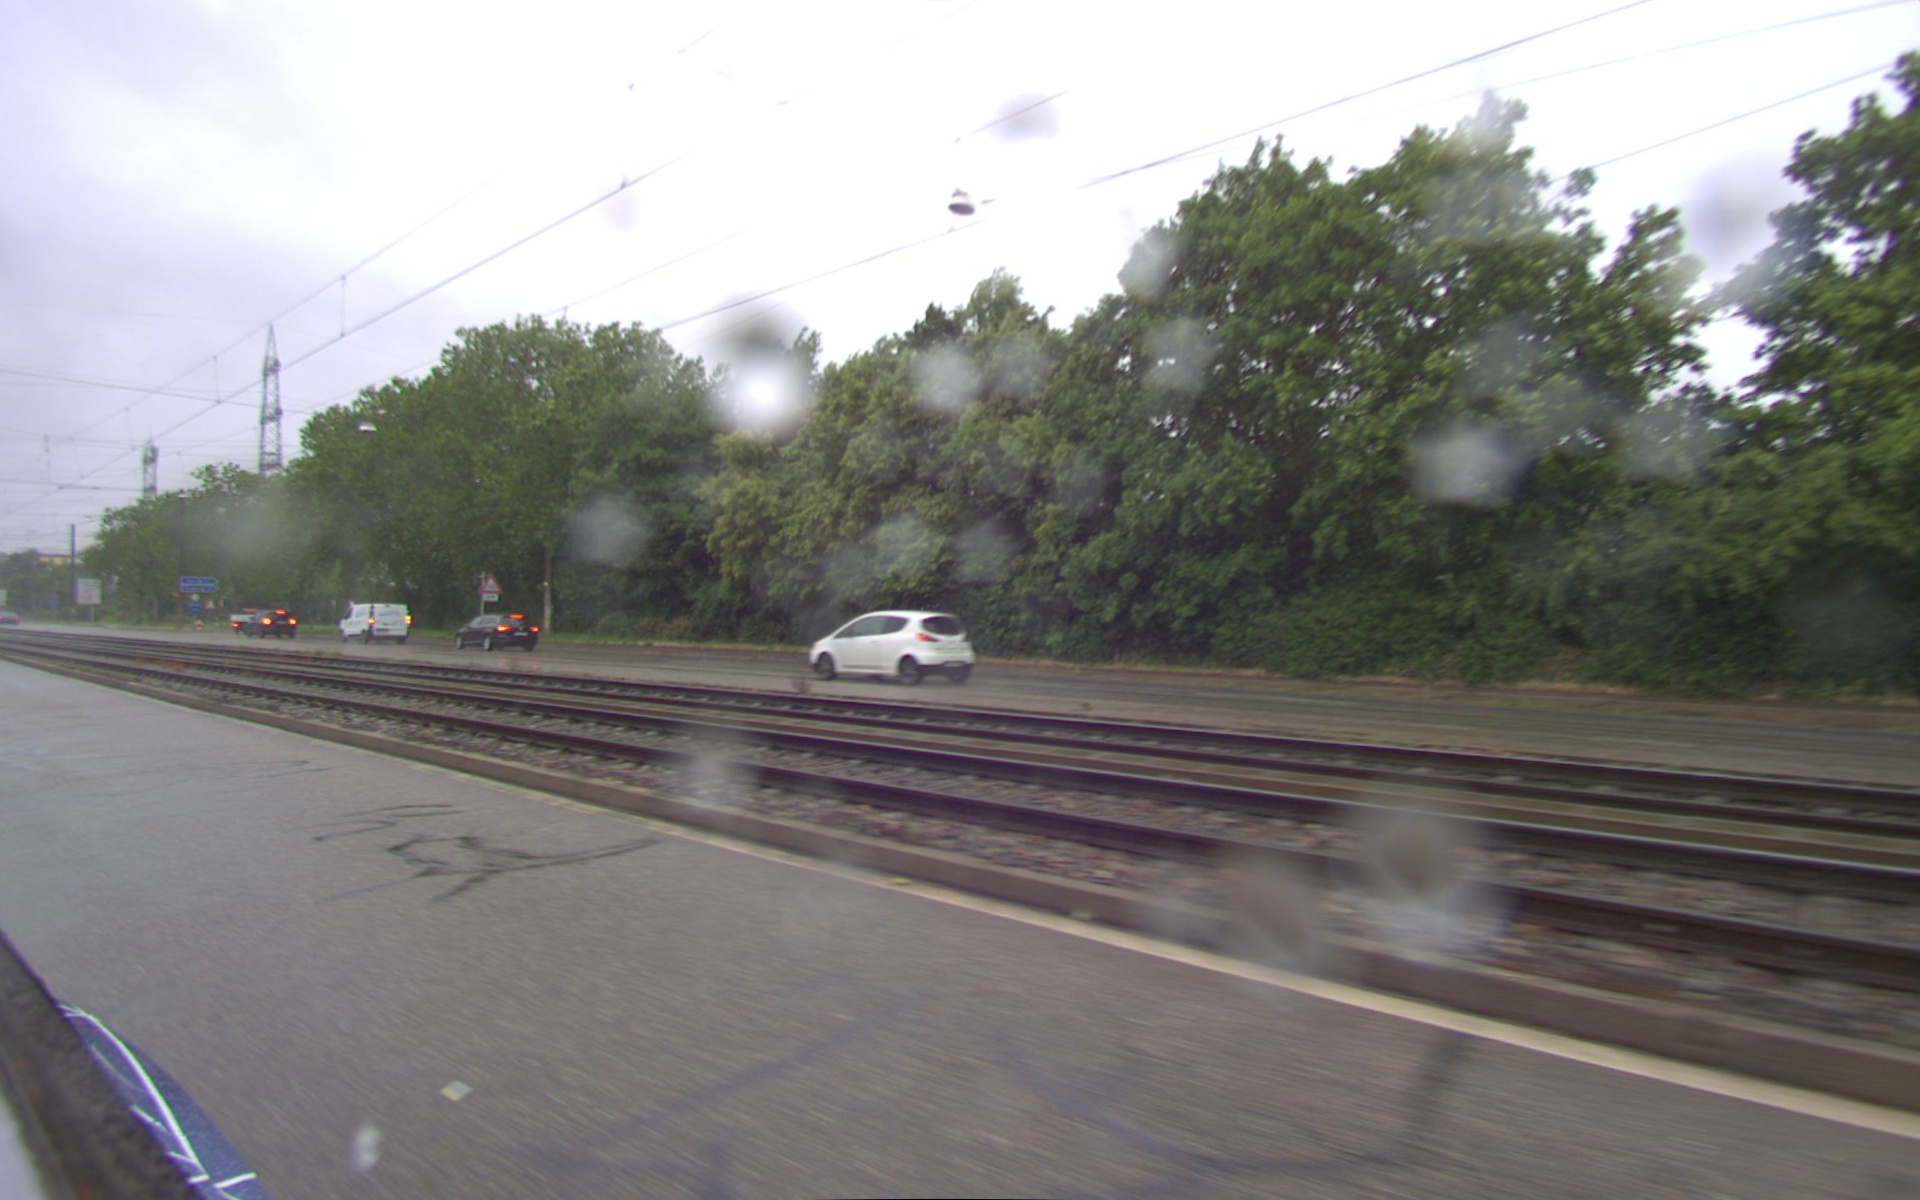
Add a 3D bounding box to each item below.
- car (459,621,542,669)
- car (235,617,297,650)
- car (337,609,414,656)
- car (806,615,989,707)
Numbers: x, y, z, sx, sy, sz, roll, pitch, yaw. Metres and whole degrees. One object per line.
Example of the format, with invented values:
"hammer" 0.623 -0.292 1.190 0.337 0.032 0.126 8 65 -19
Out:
"car" -18.287 1.745 40.220 3.673 1.642 1.753 0 2 45
"car" -41.838 1.977 60.994 4.146 1.710 2.162 0 2 43
"car" -29.174 1.552 50.495 4.146 2.119 2.162 0 2 43
"car" -1.377 1.208 21.426 3.669 1.642 1.755 0 2 41
